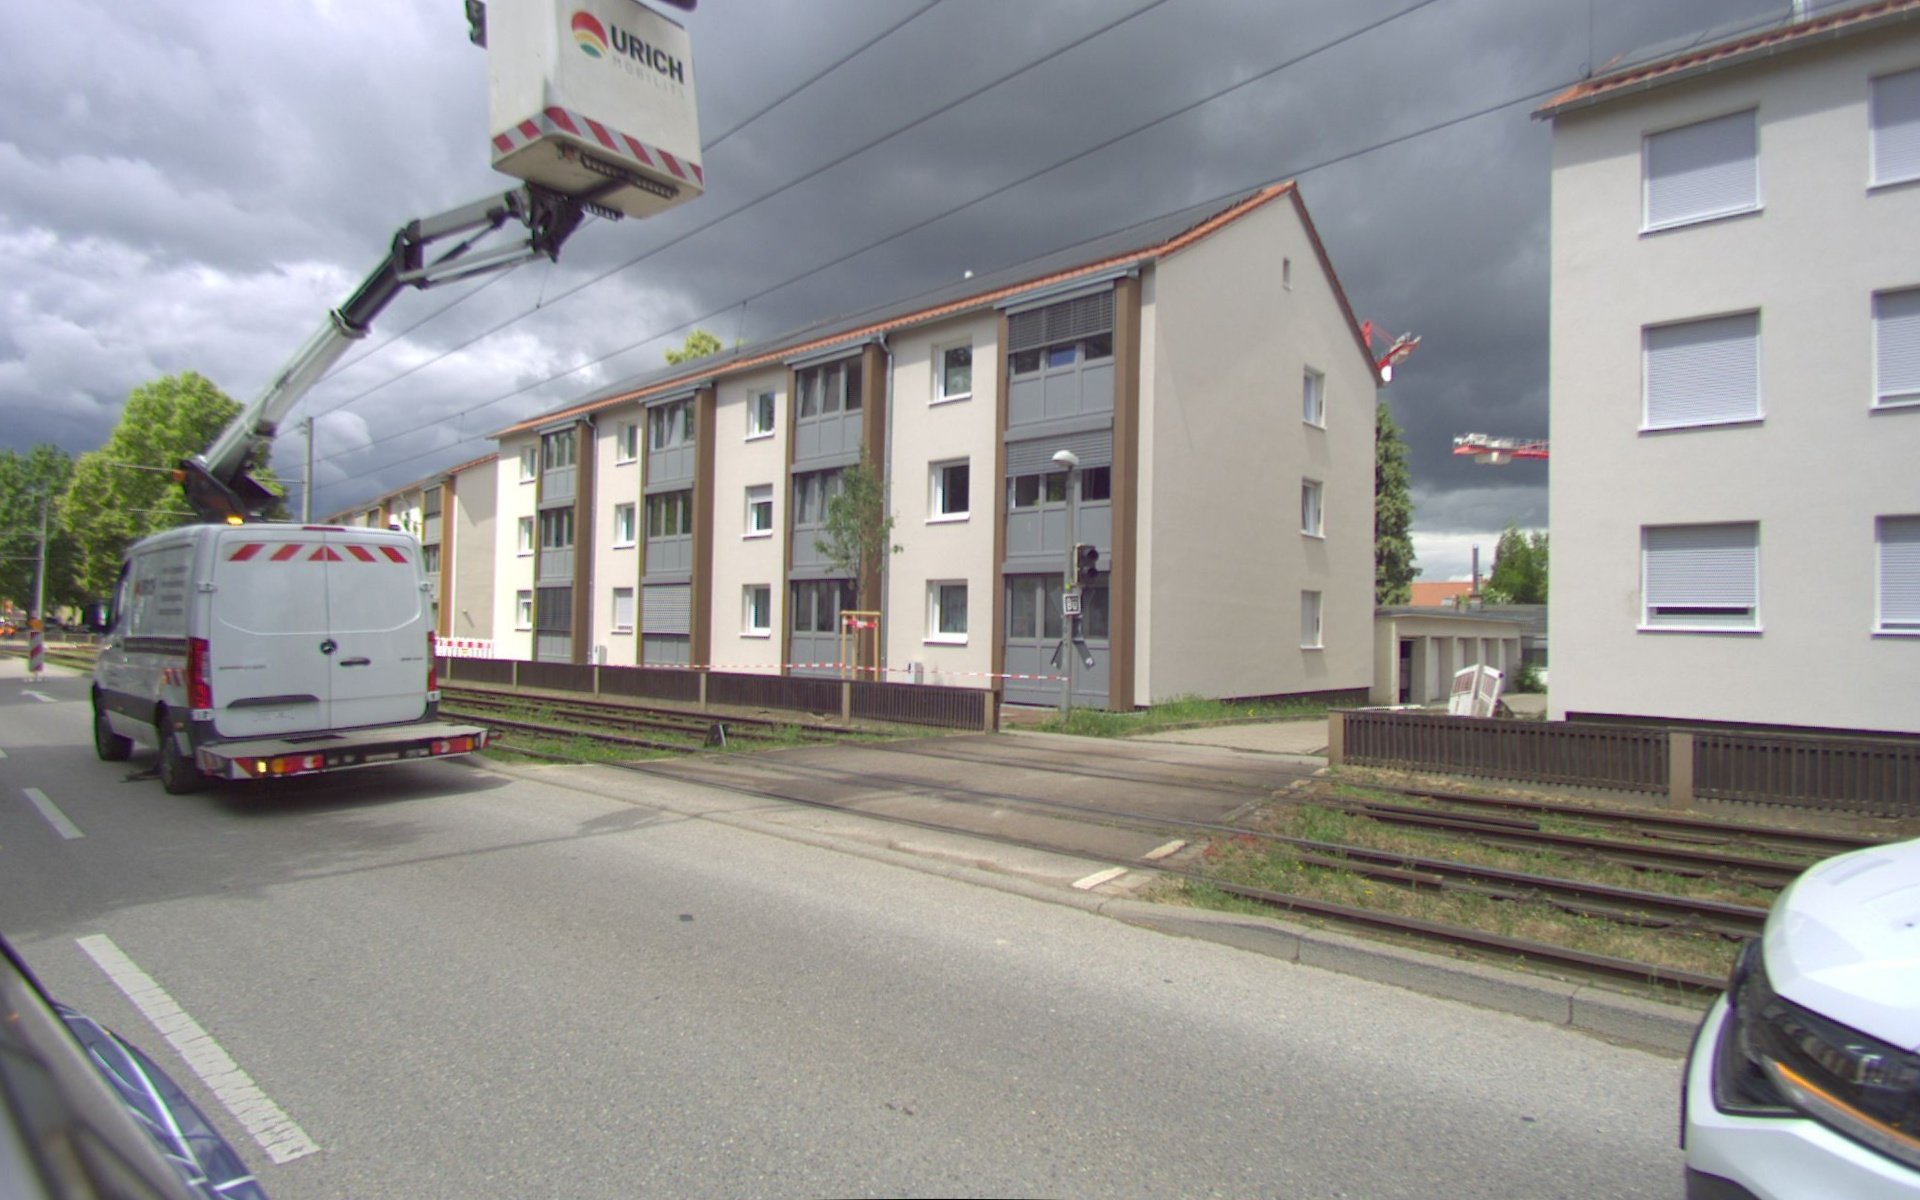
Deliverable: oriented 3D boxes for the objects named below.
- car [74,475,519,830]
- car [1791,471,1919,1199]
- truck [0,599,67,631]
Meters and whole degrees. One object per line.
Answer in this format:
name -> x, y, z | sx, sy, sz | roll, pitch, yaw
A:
car -> -6.718, 0.428, 9.808 | 6.318, 2.449, 1.973 | -1, -2, 41
car -> 3.036, 0.614, 0.568 | 3.915, 1.564, 1.700 | -1, -1, 41
truck -> -79.804, 1.363, 87.090 | 2.378, 2.588, 5.600 | 2, -2, -18
